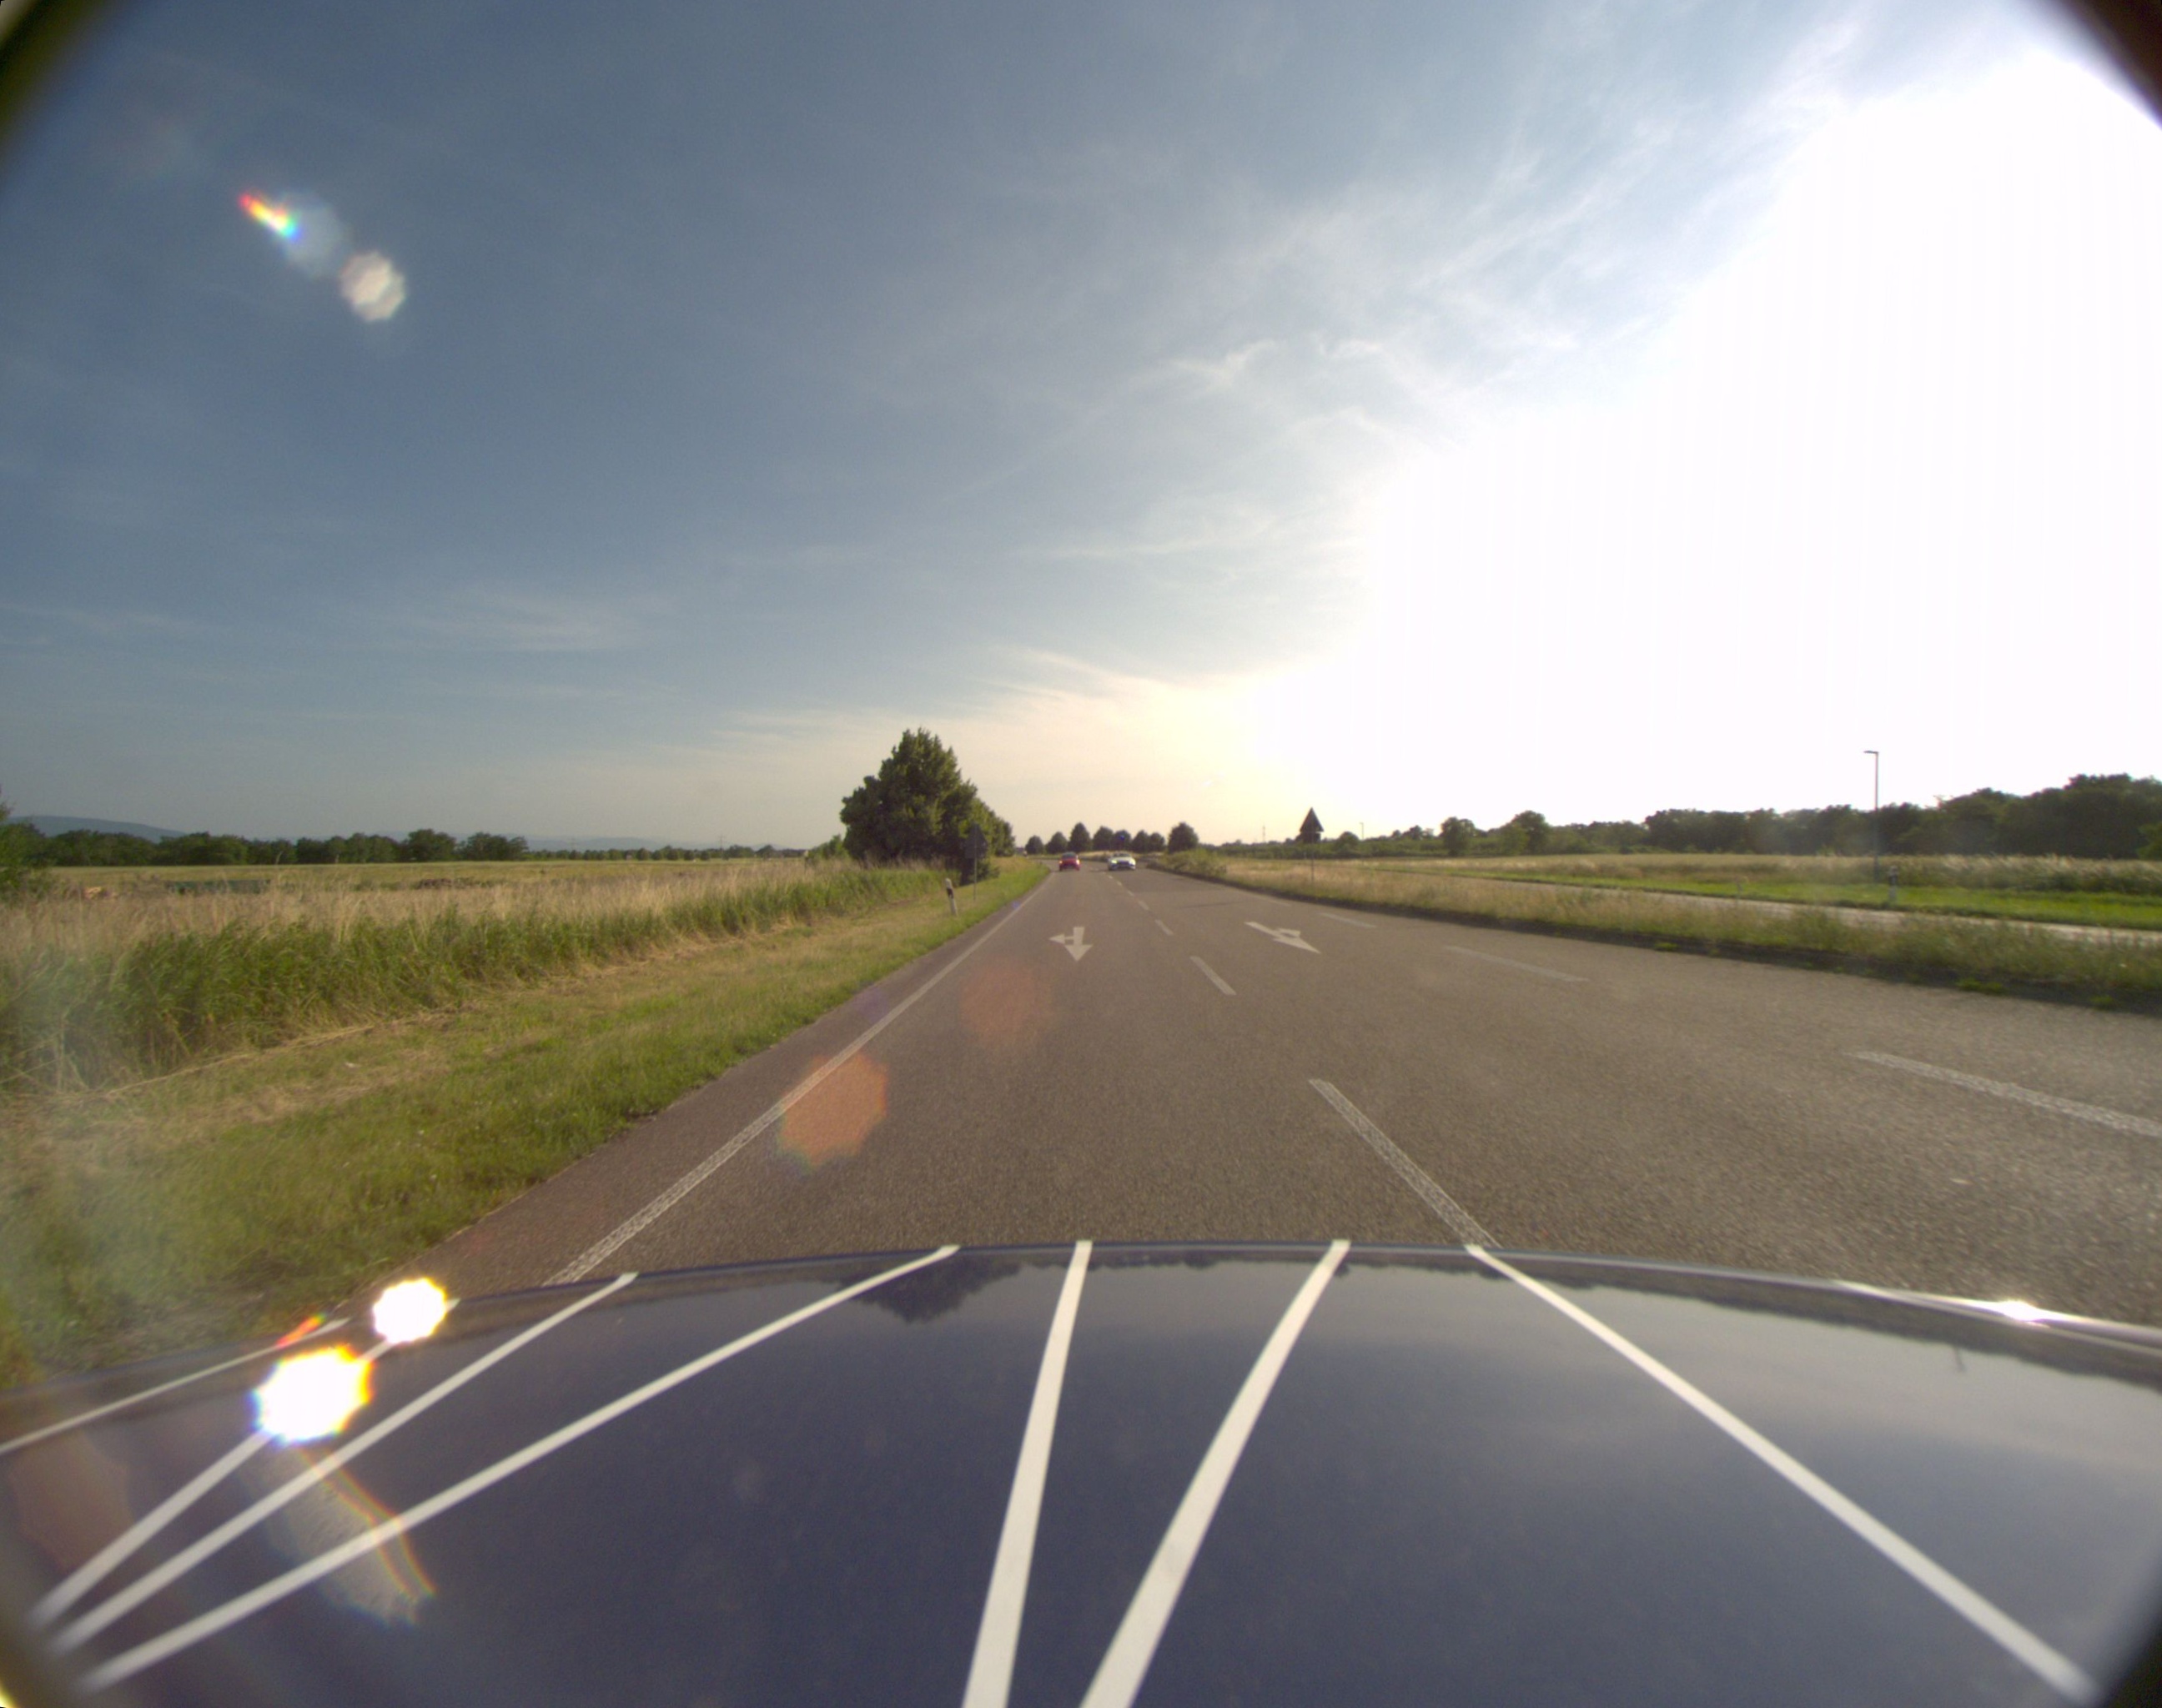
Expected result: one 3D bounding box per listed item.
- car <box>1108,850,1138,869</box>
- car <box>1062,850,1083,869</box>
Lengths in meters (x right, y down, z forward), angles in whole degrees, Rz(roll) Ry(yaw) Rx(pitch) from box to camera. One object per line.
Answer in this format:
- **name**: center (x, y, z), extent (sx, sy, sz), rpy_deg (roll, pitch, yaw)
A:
- **car**: center (3.228, 0.419, 59.381), extent (1.876, 1.390, 4.202), rpy_deg (-2, 1, -3)
- **car**: center (-0.720, 0.469, 65.260), extent (1.665, 1.456, 3.954), rpy_deg (-2, 1, 1)
